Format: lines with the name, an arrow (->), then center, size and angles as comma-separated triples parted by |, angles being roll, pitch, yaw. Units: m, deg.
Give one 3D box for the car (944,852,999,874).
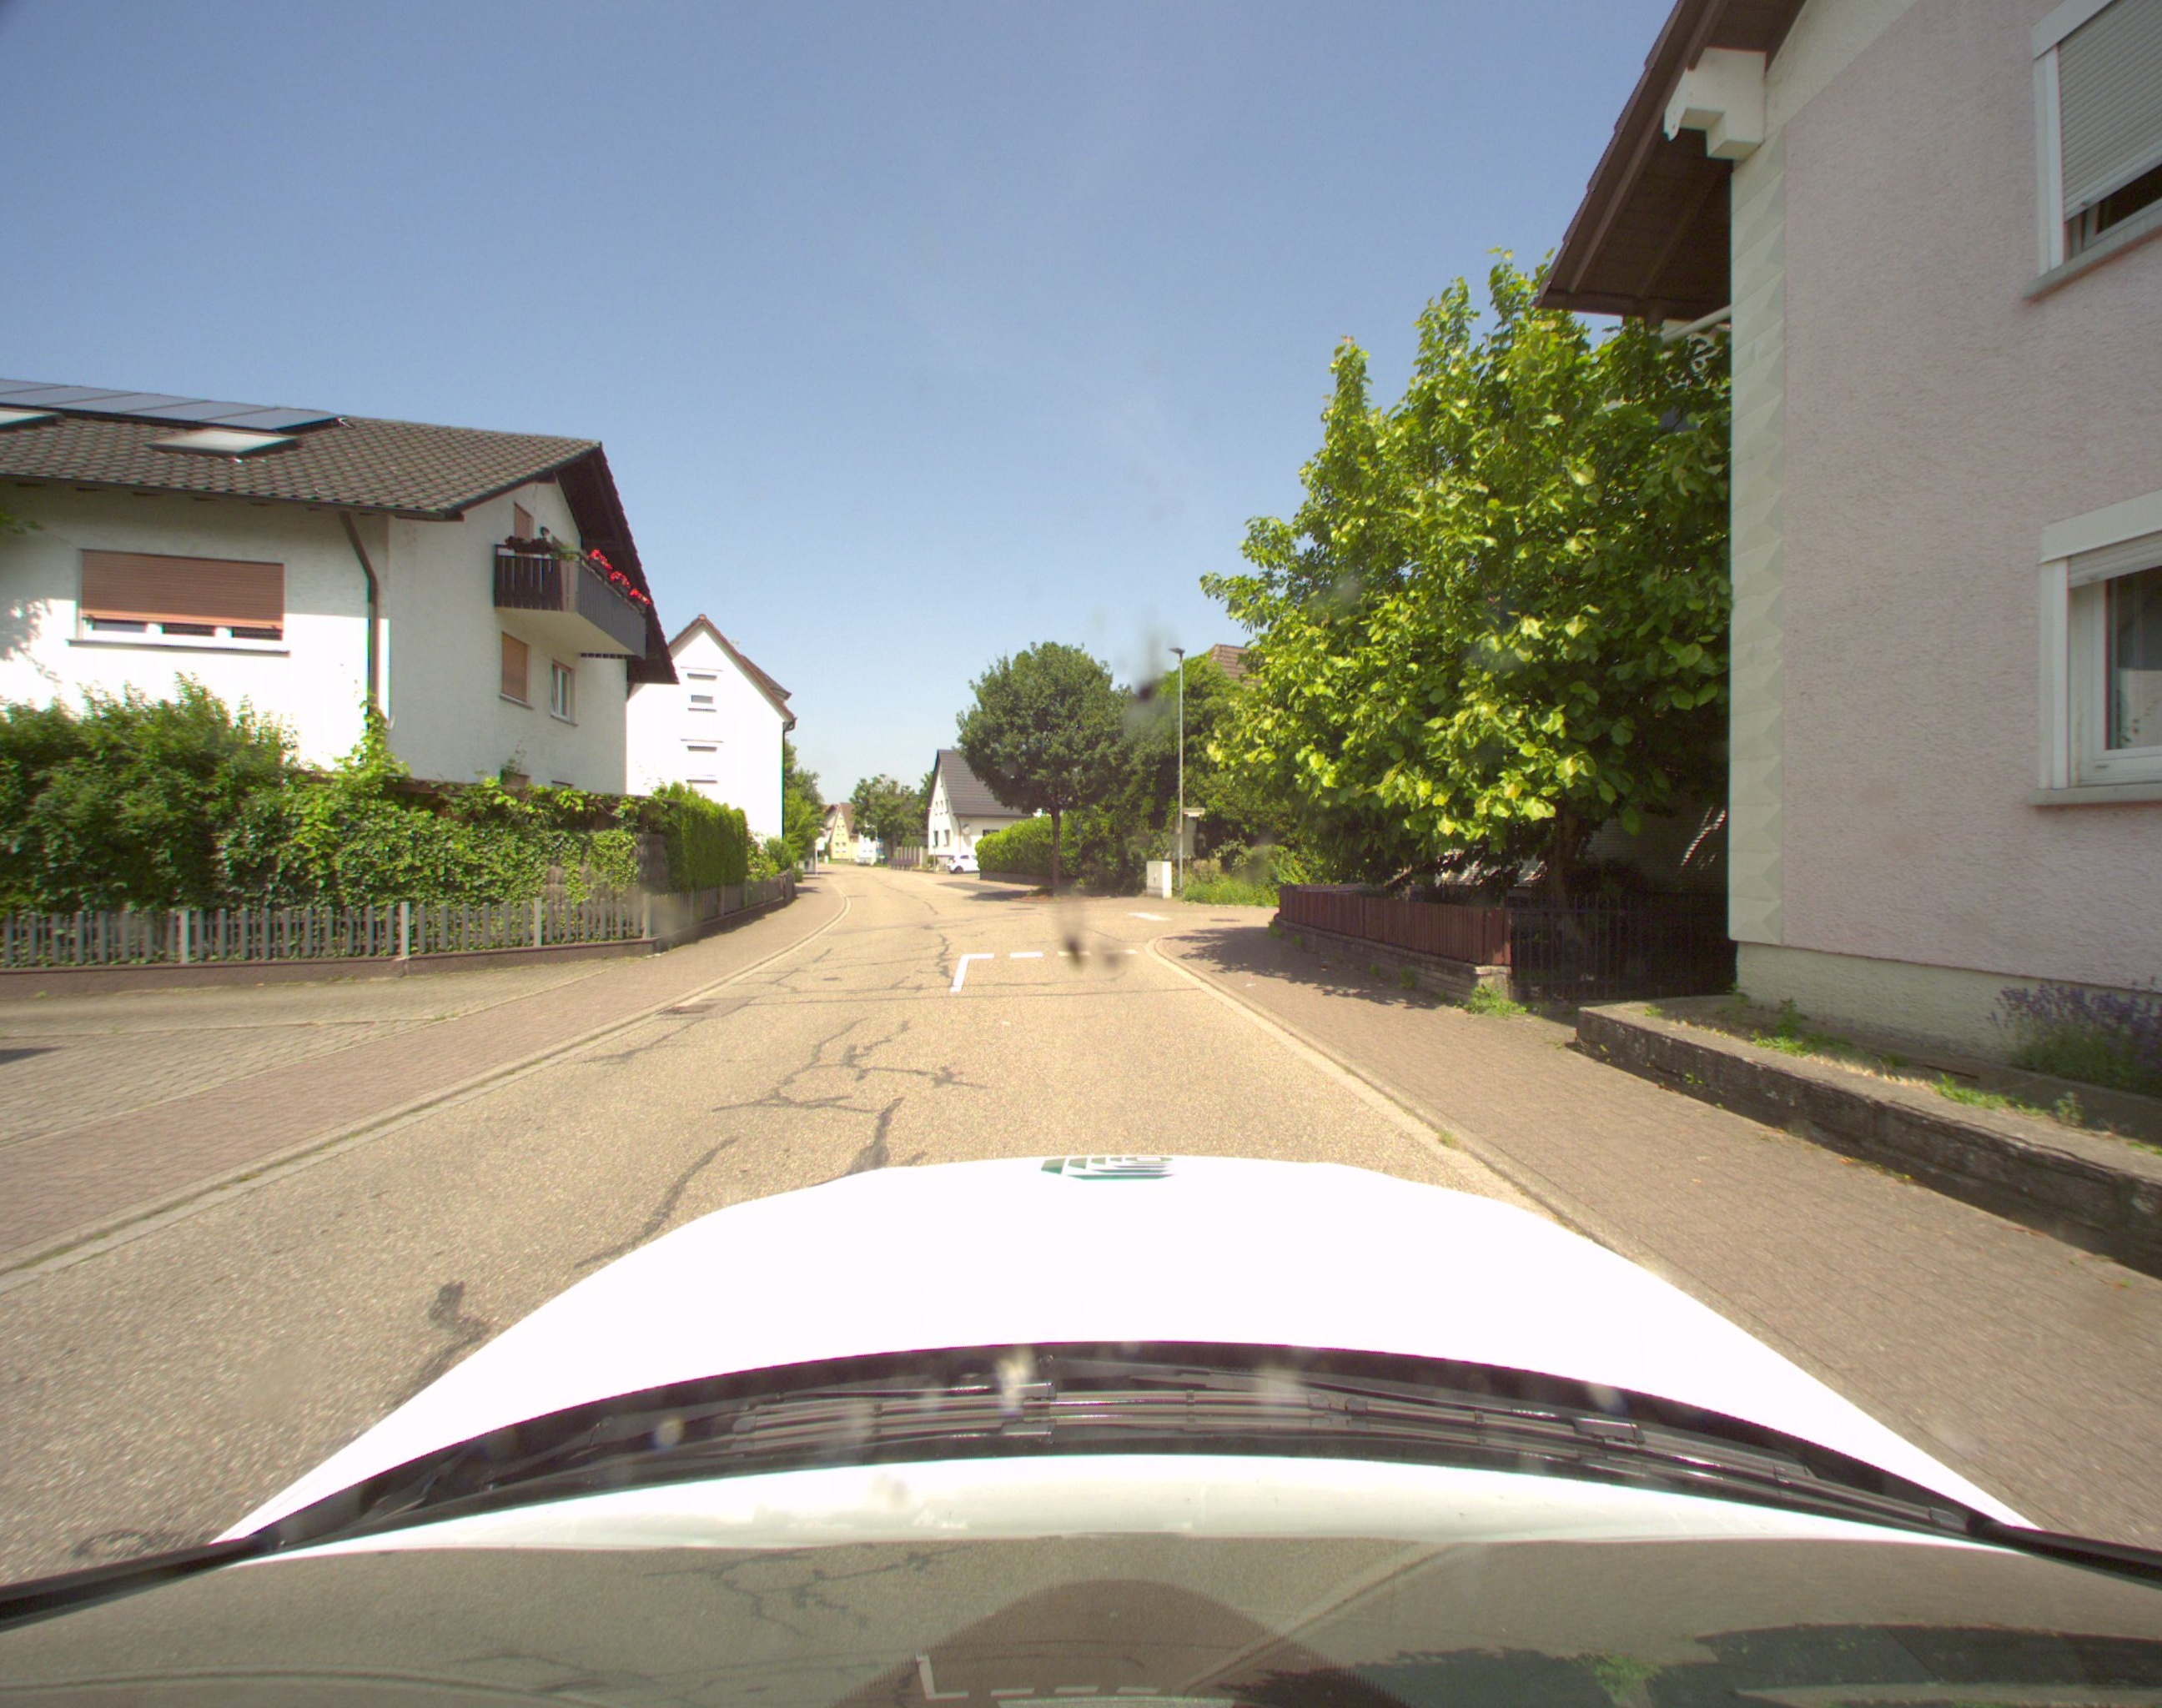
car -> -8.117, 0.631, 60.348 | 3.677, 1.474, 1.750 | -2, 1, -26
